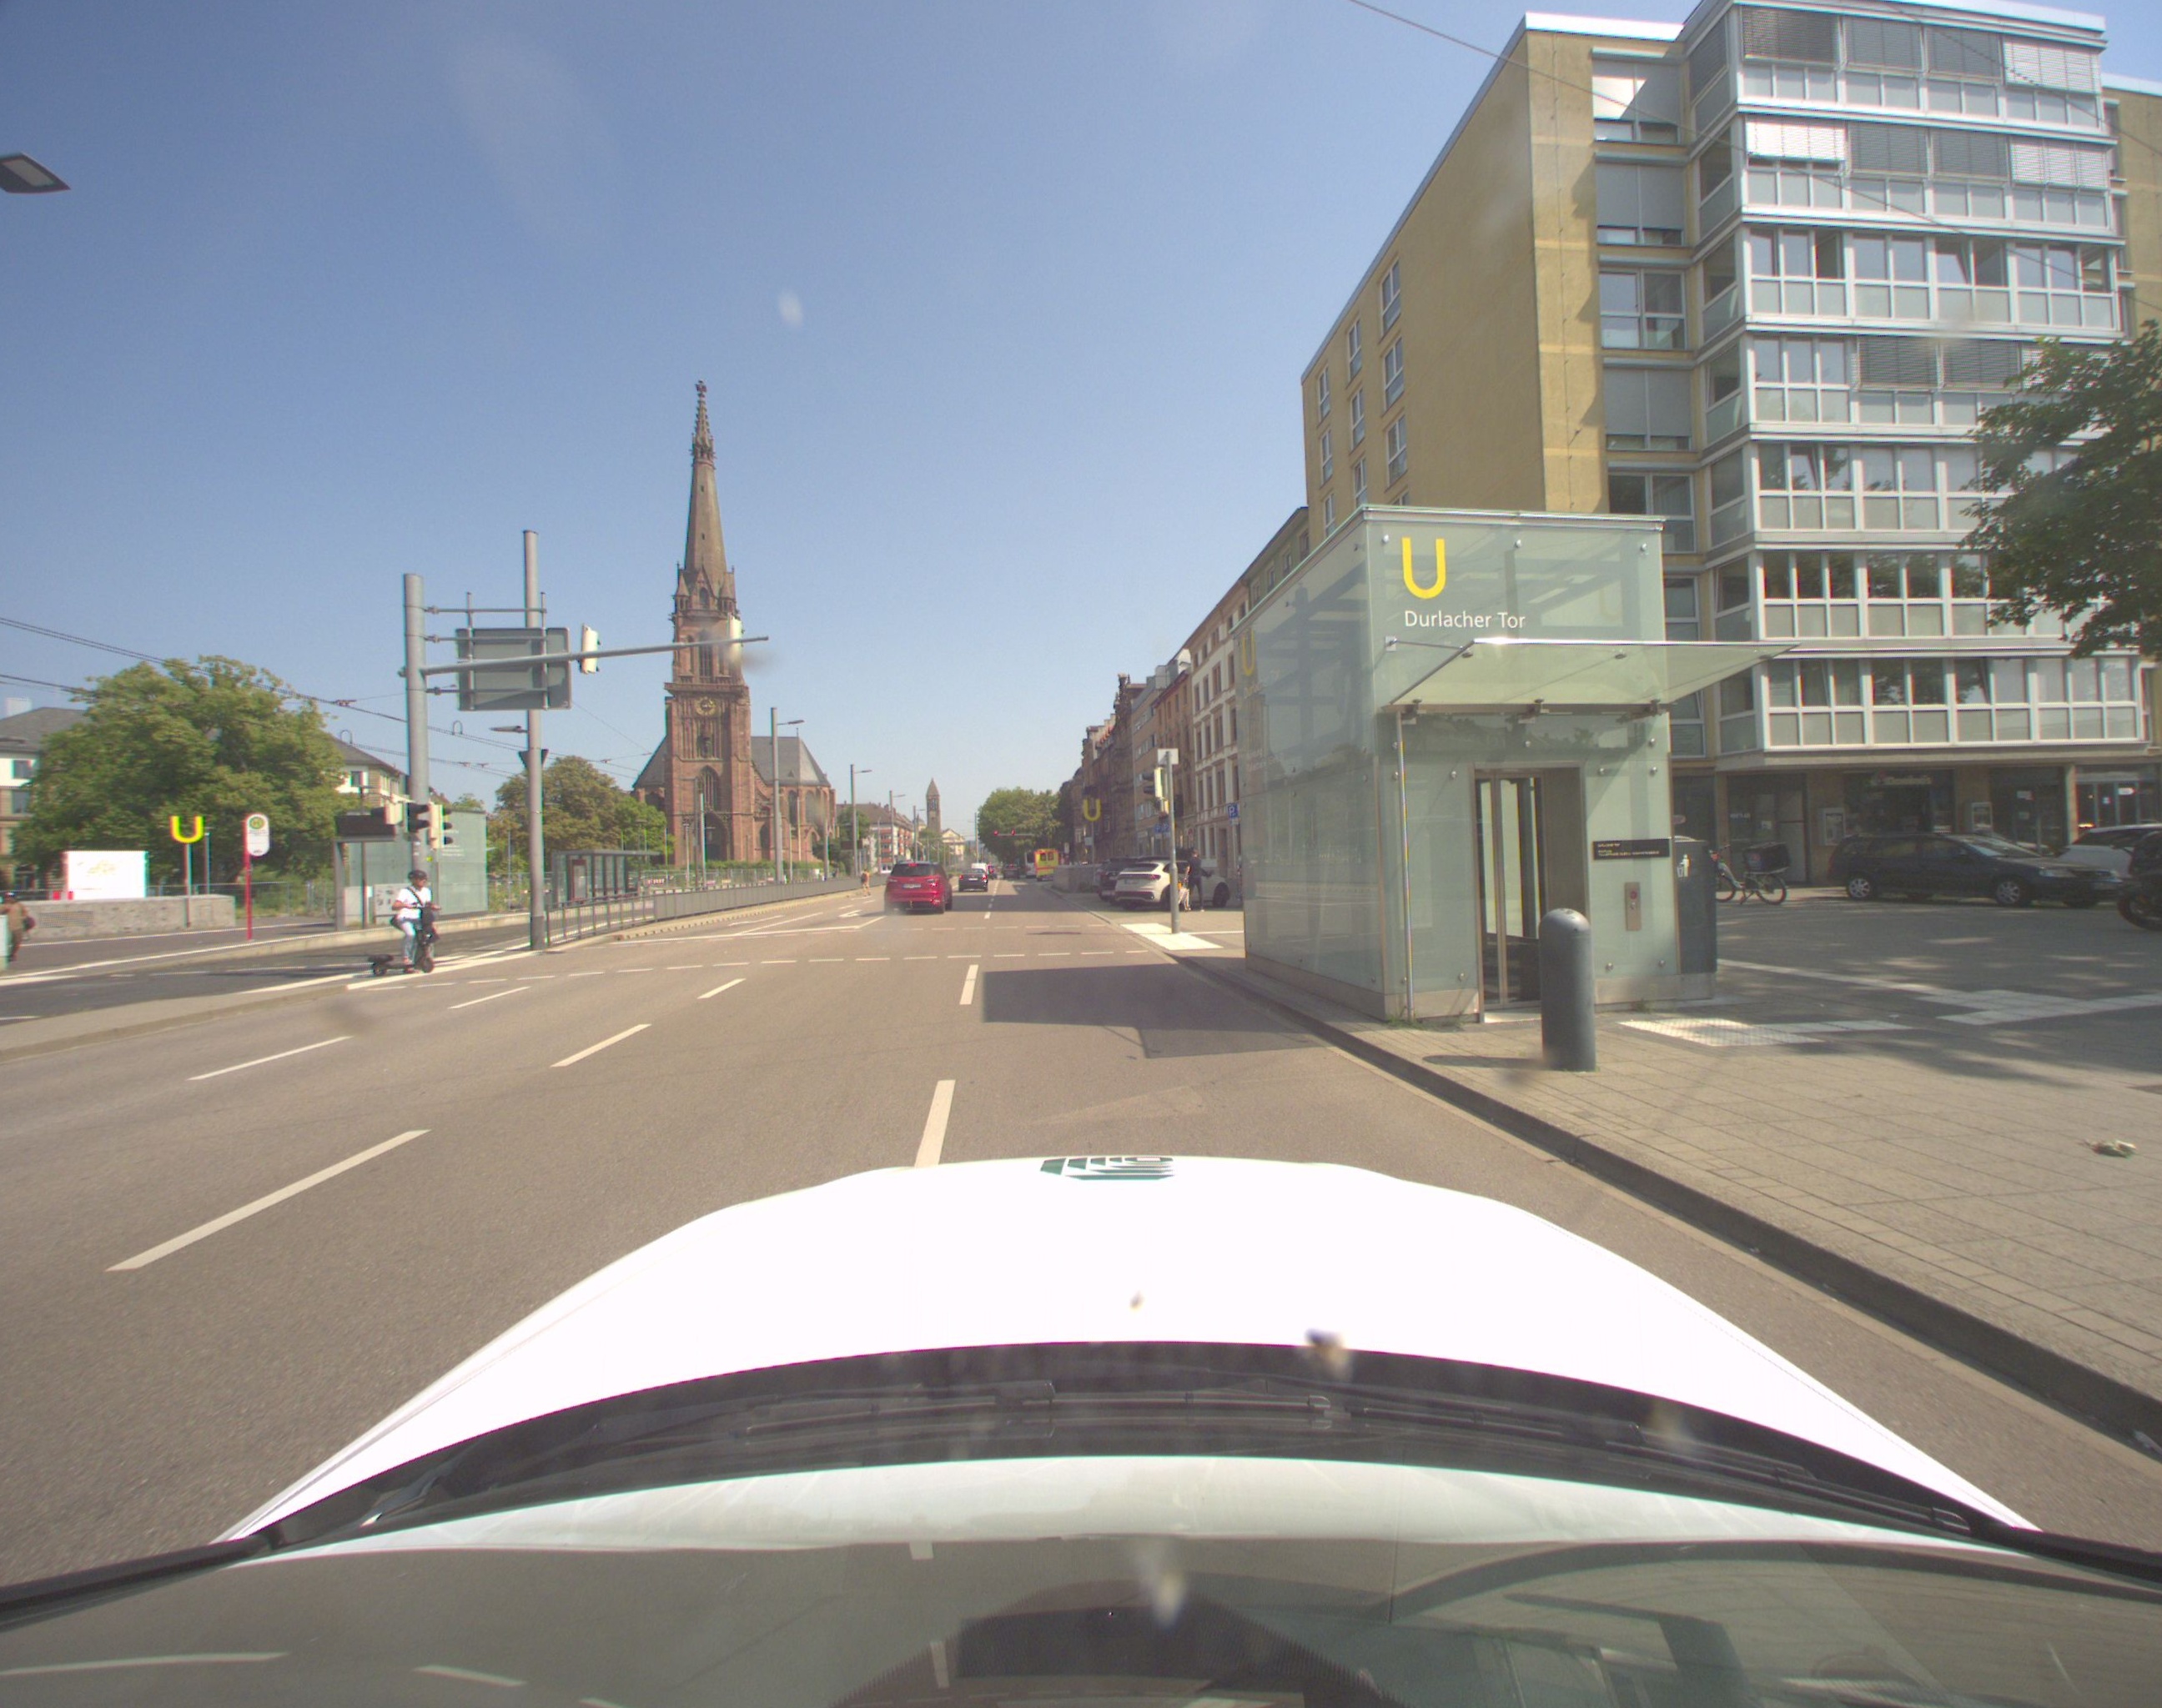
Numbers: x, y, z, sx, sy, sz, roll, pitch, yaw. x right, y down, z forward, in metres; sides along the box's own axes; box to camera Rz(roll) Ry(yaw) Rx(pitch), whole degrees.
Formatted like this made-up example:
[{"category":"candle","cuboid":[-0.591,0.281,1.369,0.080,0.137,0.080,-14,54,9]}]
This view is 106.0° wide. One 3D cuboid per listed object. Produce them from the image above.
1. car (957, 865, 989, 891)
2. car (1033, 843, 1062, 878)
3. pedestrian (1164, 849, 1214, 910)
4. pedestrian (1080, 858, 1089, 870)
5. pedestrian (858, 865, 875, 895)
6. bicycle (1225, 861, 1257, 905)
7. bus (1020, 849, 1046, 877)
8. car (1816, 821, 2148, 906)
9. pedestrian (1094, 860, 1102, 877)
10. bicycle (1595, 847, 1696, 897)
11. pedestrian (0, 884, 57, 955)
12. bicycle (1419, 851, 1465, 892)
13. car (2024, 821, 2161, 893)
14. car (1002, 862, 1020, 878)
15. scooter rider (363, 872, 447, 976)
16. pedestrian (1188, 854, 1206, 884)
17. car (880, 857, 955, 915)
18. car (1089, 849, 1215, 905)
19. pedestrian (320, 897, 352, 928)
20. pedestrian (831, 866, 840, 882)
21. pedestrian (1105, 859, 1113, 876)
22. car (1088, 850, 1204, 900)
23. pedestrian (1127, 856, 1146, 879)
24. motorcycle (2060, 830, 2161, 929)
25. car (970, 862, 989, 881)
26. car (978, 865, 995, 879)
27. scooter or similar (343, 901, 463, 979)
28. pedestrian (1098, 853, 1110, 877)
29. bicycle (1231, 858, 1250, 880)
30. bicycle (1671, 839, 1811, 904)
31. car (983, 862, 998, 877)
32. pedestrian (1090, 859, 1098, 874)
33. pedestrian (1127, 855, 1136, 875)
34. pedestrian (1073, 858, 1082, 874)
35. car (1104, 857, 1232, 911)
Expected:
[{"category":"car","cuboid":[-6.379,1.398,48.420,1.788,1.431,3.991,-2,0,-7]},{"category":"car","cuboid":[-2.940,0.565,72.503,2.293,2.888,5.595,-3,0,-2]},{"category":"pedestrian","cuboid":[3.065,0.708,23.108,1.042,1.704,0.895,0,-1,-32]},{"category":"pedestrian","cuboid":[0.542,1.564,124.143,1.247,1.751,1.523,-2,1,-5]},{"category":"pedestrian","cuboid":[-12.944,1.552,49.166,0.760,1.752,1.066,-2,-1,-7]},{"category":"bicycle","cuboid":[4.976,0.903,25.441,0.472,1.296,1.789,-3,-1,-3]},{"category":"bus","cuboid":[-5.852,1.095,97.386,2.530,3.032,12.410,-2,-1,-5]},{"category":"car","cuboid":[18.167,0.186,16.784,1.899,1.470,4.234,-2,0,-8]},{"category":"pedestrian","cuboid":[1.691,1.458,81.506,0.695,1.667,0.602,-2,-1,-4]},{"category":"bicycle","cuboid":[13.848,0.433,20.009,1.952,1.143,0.598,-2,-1,9]},{"category":"pedestrian","cuboid":[-26.393,1.621,20.387,0.575,1.658,0.794,-2,2,-24]},{"category":"bicycle","cuboid":[11.401,0.553,25.762,0.408,1.238,1.822,-2,0,-8]},{"category":"car","cuboid":[23.148,0.022,16.951,1.899,1.470,4.234,-2,0,-8]},{"category":"car","cuboid":[-7.739,1.801,89.899,1.788,1.677,3.990,-2,-1,-7]},{"category":"scooter rider","cuboid":[-11.539,1.169,13.933,0.771,1.673,0.776,-2,-1,-10]},{"category":"pedestrian","cuboid":[7.540,0.974,53.001,0.842,1.846,0.683,-4,0,-15]},{"category":"car","cuboid":[-5.070,0.961,25.749,1.759,1.618,4.076,-2,0,-4]},{"category":"car","cuboid":[2.521,0.756,27.976,1.961,1.687,4.419,-3,0,42]},{"category":"pedestrian","cuboid":[-36.681,2.885,40.079,1.676,1.486,0.618,-3,-1,29]},{"category":"pedestrian","cuboid":[-28.328,2.333,93.898,0.828,1.752,0.719,-2,-1,-5]},{"category":"pedestrian","cuboid":[2.859,1.402,83.515,0.642,1.685,0.787,-2,-1,-6]},{"category":"car","cuboid":[2.611,0.797,31.821,2.018,1.713,4.694,-3,-1,42]},{"category":"pedestrian","cuboid":[3.912,0.947,57.464,0.857,1.582,0.959,-1,-1,-39]},{"category":"motorcycle","cuboid":[12.841,0.280,9.286,0.905,1.137,2.116,-2,-1,7]},{"category":"car","cuboid":[-10.209,1.769,81.947,1.788,1.780,3.990,-2,-1,-7]},{"category":"car","cuboid":[-10.458,1.960,89.994,1.788,1.473,3.990,-2,-1,-7]},{"category":"scooter or similar","cuboid":[-11.545,1.453,13.913,1.337,1.148,0.707,-4,0,-9]},{"category":"pedestrian","cuboid":[1.718,0.790,60.711,0.847,1.729,0.971,-3,1,1]},{"category":"bicycle","cuboid":[9.245,0.831,47.269,0.479,1.146,2.468,-2,2,-3]},{"category":"bicycle","cuboid":[13.881,0.353,17.245,0.791,1.238,2.430,-2,-1,-6]},{"category":"car","cuboid":[-11.001,1.939,98.878,1.788,1.698,3.990,-2,-1,-7]},{"category":"pedestrian","cuboid":[1.450,1.374,89.462,0.695,1.667,1.063,-2,-1,-4]},{"category":"pedestrian","cuboid":[4.493,1.003,72.155,0.576,1.750,0.677,-4,-1,-6]},{"category":"pedestrian","cuboid":[-0.388,1.295,86.374,0.691,1.667,0.606,-2,-1,20]},{"category":"car","cuboid":[2.707,0.849,24.898,3.806,1.500,1.786,0,0,-42]}]
